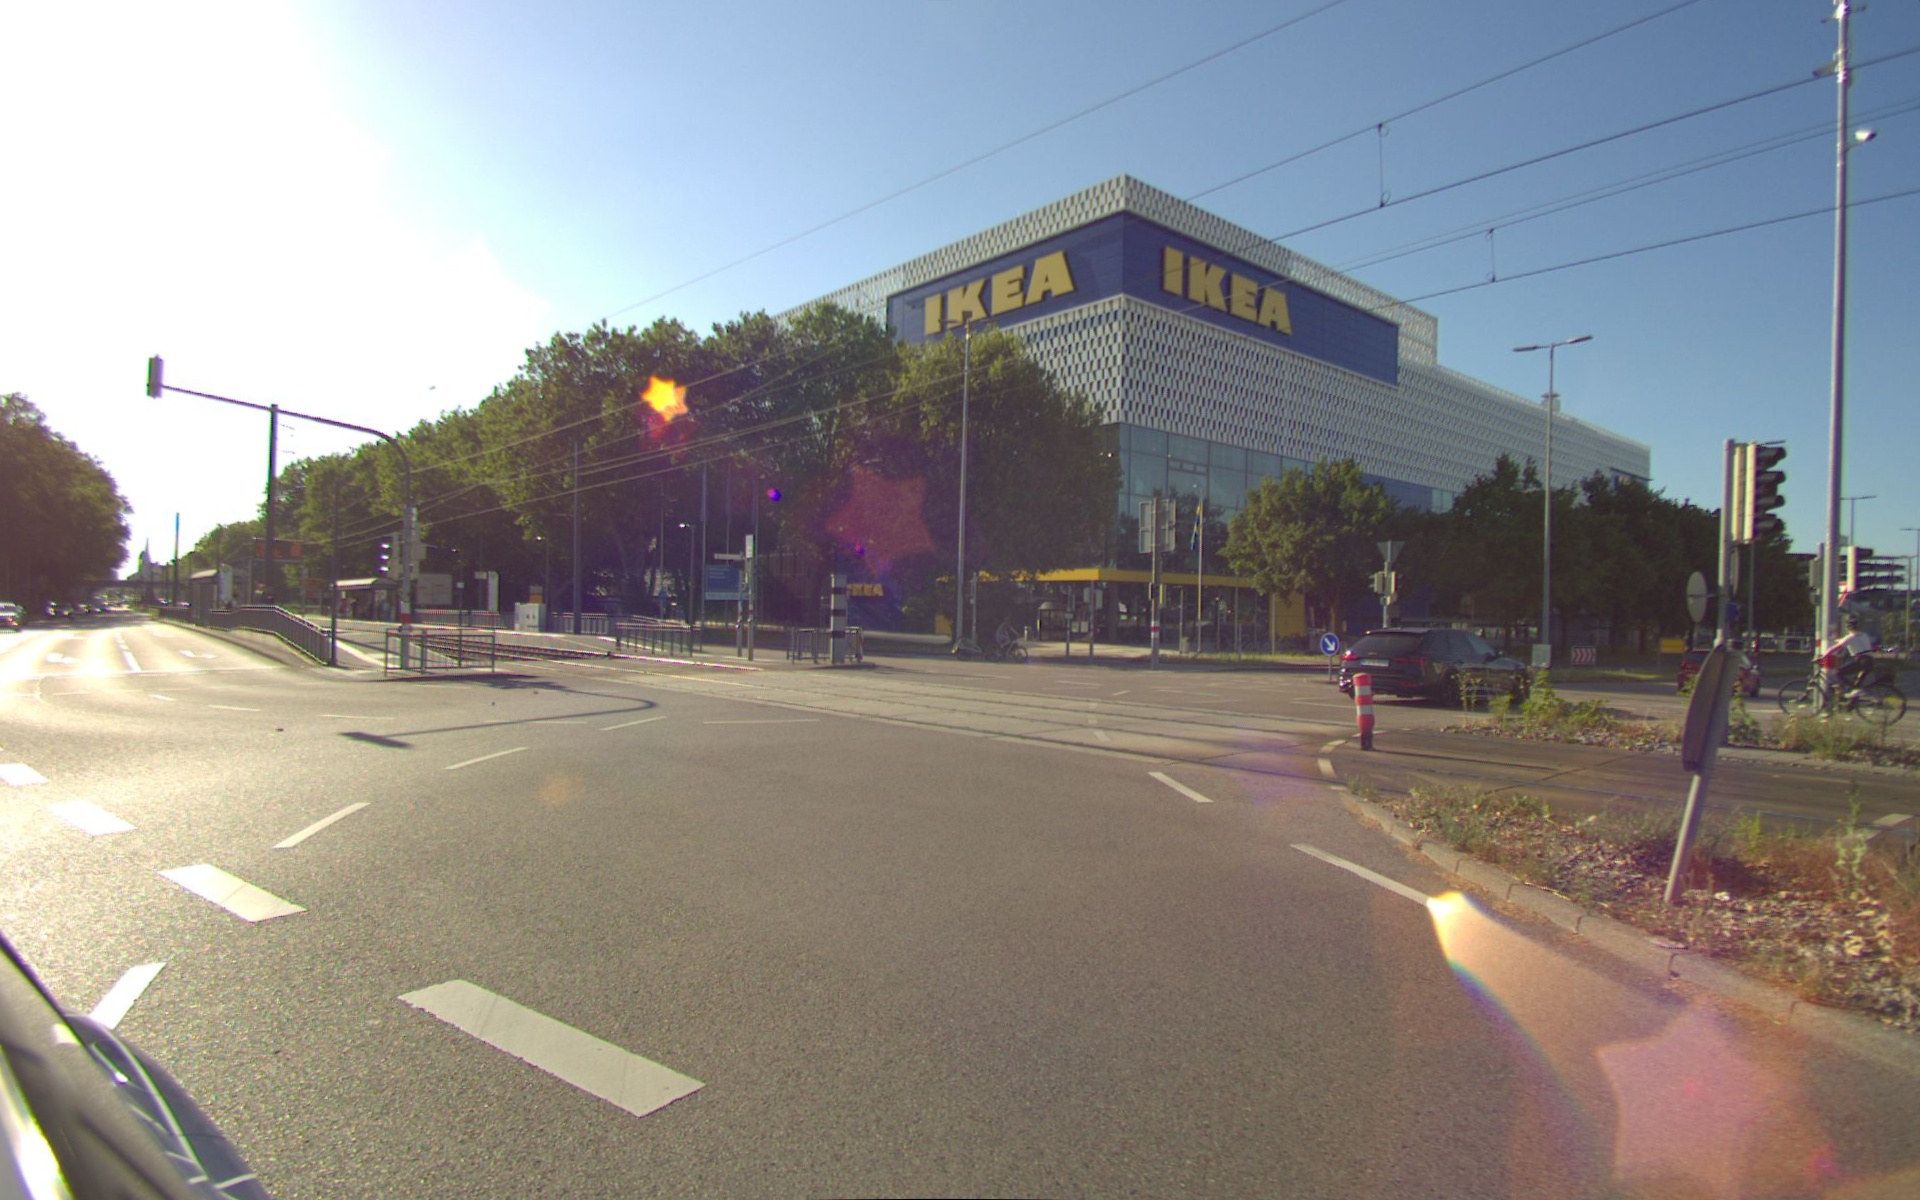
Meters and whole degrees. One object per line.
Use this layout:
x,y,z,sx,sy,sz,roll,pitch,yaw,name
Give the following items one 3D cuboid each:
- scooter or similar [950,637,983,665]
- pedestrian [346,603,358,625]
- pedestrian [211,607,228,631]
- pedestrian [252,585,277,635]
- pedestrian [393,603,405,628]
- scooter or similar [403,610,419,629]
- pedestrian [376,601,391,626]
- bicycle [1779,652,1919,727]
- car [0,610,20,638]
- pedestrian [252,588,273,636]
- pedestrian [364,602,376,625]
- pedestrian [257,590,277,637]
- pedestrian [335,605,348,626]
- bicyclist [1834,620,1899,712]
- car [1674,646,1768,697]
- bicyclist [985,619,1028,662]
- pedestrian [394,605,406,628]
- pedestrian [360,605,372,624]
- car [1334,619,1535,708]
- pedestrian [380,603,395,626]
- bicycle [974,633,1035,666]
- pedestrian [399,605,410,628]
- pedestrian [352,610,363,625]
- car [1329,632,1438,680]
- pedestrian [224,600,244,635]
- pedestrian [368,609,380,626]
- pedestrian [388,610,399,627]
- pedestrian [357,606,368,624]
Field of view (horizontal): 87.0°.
0.261,1.987,39.629,1.048,1.023,0.791,1,0,-20,scooter or similar
-46.176,1.083,76.906,0.652,1.645,0.778,-1,0,-39,pedestrian
-39.645,0.999,54.184,0.672,1.241,0.880,-2,0,-40,pedestrian
-25.775,0.362,37.524,0.697,1.788,0.537,-2,1,-36,pedestrian
-40.370,1.109,72.805,0.643,1.732,0.636,-1,0,-37,pedestrian
-37.839,1.331,69.758,0.656,1.244,1.374,1,-1,-41,scooter or similar
-42.895,1.030,75.314,0.686,1.834,0.724,-1,0,39,pedestrian
15.618,1.537,17.647,0.580,1.176,1.995,1,-1,-40,bicycle
-50.140,1.245,52.437,1.843,1.441,3.838,-2,1,-39,car
-25.424,0.431,36.895,0.527,1.705,0.762,-2,1,-38,pedestrian
-44.307,1.019,76.005,0.644,1.755,0.687,-2,0,-38,pedestrian
-24.788,0.472,36.196,0.527,1.669,0.752,-1,1,-38,pedestrian
-51.521,1.277,84.289,0.752,1.723,0.679,-1,1,-39,pedestrian
15.711,1.119,17.550,0.580,1.534,0.752,1,-1,-40,bicyclist
24.457,2.293,32.492,3.531,1.471,1.773,5,-3,-42,car
1.843,1.597,40.263,1.460,1.629,0.825,2,0,-20,bicyclist
-40.082,1.165,72.402,0.643,1.632,0.636,-1,0,-37,pedestrian
-46.882,1.172,79.879,0.576,1.503,0.663,0,-1,37,pedestrian
9.034,1.187,19.148,4.026,1.469,1.925,4,-2,-40,car
-42.294,1.086,74.746,0.686,1.704,0.724,-1,0,39,pedestrian
1.771,1.959,40.232,2.240,1.227,0.717,2,0,-20,bicycle
-39.211,1.141,71.435,0.594,1.632,0.692,-1,0,-37,pedestrian
-49.355,1.417,82.927,0.669,1.171,0.625,1,-1,-43,pedestrian
15.154,2.001,36.131,4.193,1.509,2.018,5,-3,-43,car
-36.623,0.859,51.033,0.822,1.728,0.685,-1,0,45,pedestrian
-44.631,1.308,77.101,0.645,1.262,0.686,-2,0,-43,pedestrian
-41.112,1.361,73.399,0.594,1.233,0.618,-1,0,-37,pedestrian
-47.363,1.184,80.267,0.544,1.479,0.607,-1,-1,41,pedestrian
